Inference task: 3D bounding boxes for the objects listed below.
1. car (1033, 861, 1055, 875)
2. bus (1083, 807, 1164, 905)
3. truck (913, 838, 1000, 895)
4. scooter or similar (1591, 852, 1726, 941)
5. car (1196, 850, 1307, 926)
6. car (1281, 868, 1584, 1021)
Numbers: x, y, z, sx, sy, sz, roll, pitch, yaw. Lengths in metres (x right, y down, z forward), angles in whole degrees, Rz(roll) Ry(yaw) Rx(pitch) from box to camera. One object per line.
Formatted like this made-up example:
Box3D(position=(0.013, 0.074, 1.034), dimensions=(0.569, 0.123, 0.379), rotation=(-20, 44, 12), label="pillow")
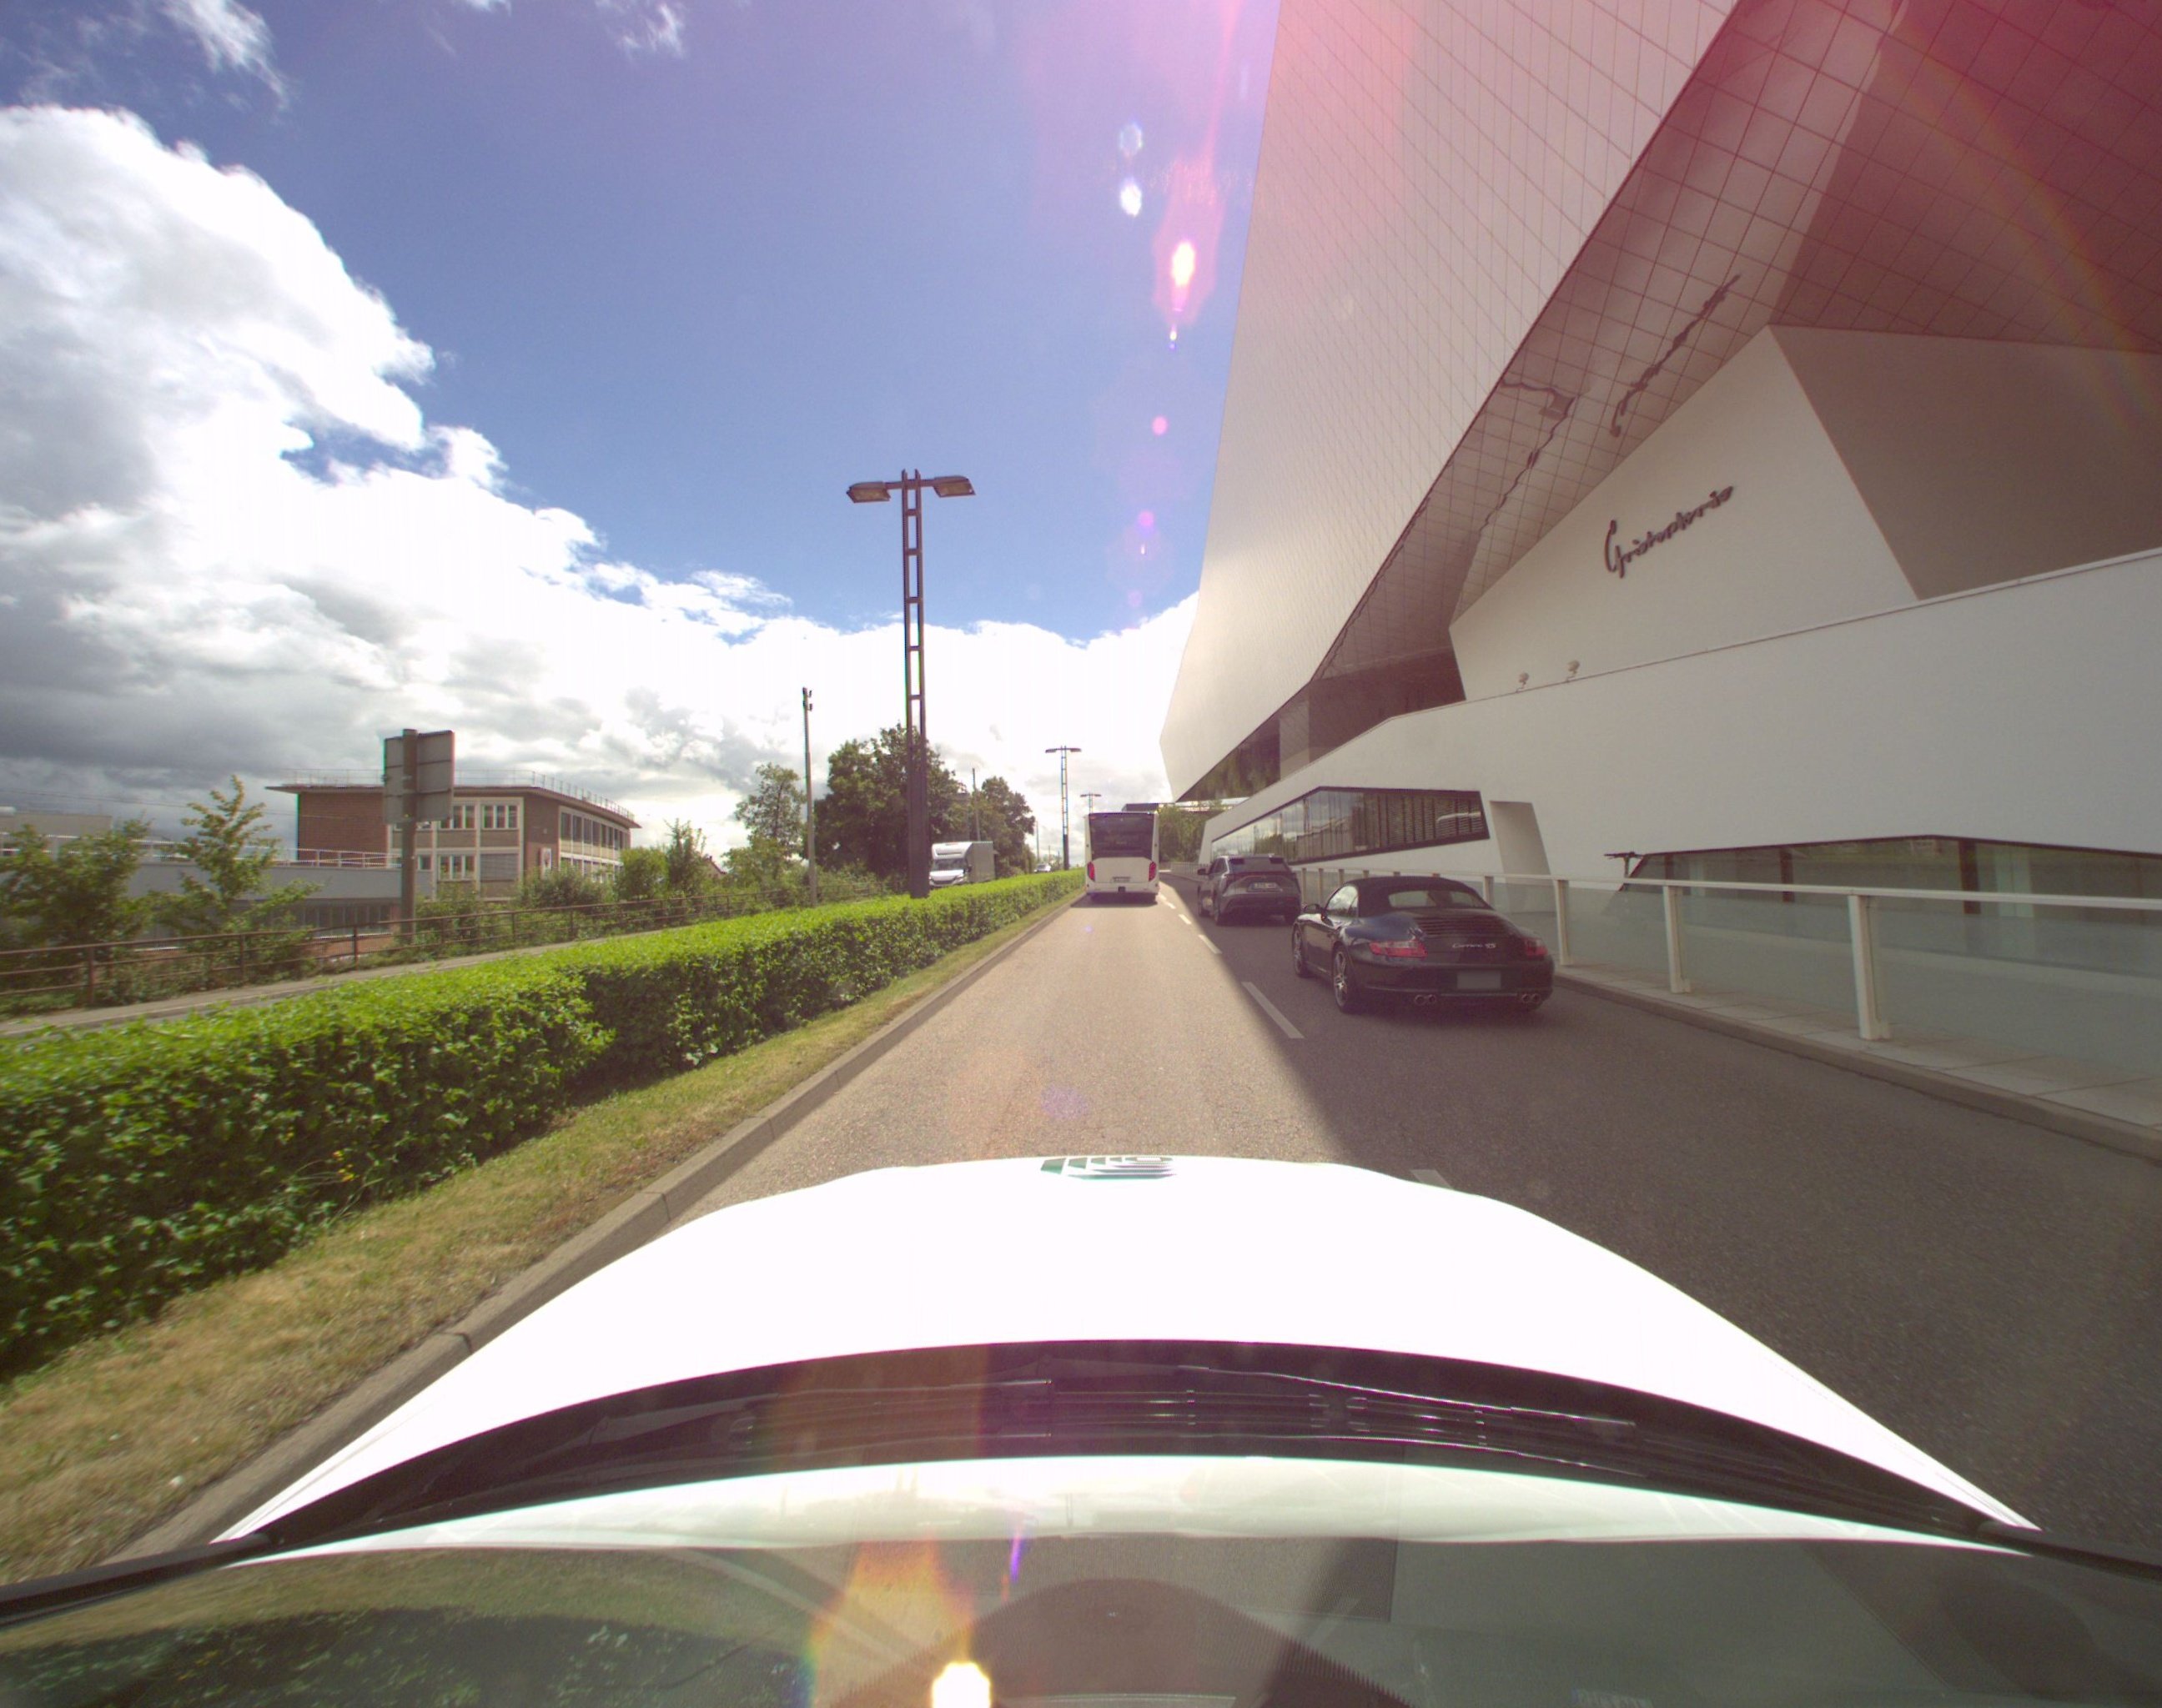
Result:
Box3D(position=(-4.213, 1.592, 93.323), dimensions=(1.831, 1.507, 4.566), rotation=(-2, -1, 4), label="car")
Box3D(position=(1.775, 0.078, 33.267), dimensions=(2.677, 3.255, 12.067), rotation=(0, 0, 3), label="bus")
Box3D(position=(-6.973, 0.574, 47.225), dimensions=(2.843, 2.857, 9.388), rotation=(-2, 1, 4), label="truck")
Box3D(position=(8.786, 0.620, 12.501), dimensions=(0.703, 1.243, 1.953), rotation=(-2, -1, 3), label="scooter or similar")
Box3D(position=(3.896, 0.761, 19.316), dimensions=(1.872, 1.594, 4.231), rotation=(0, -1, 2), label="car")
Box3D(position=(3.470, 0.804, 8.936), dimensions=(1.713, 1.275, 4.090), rotation=(-1, -1, 3), label="car")
